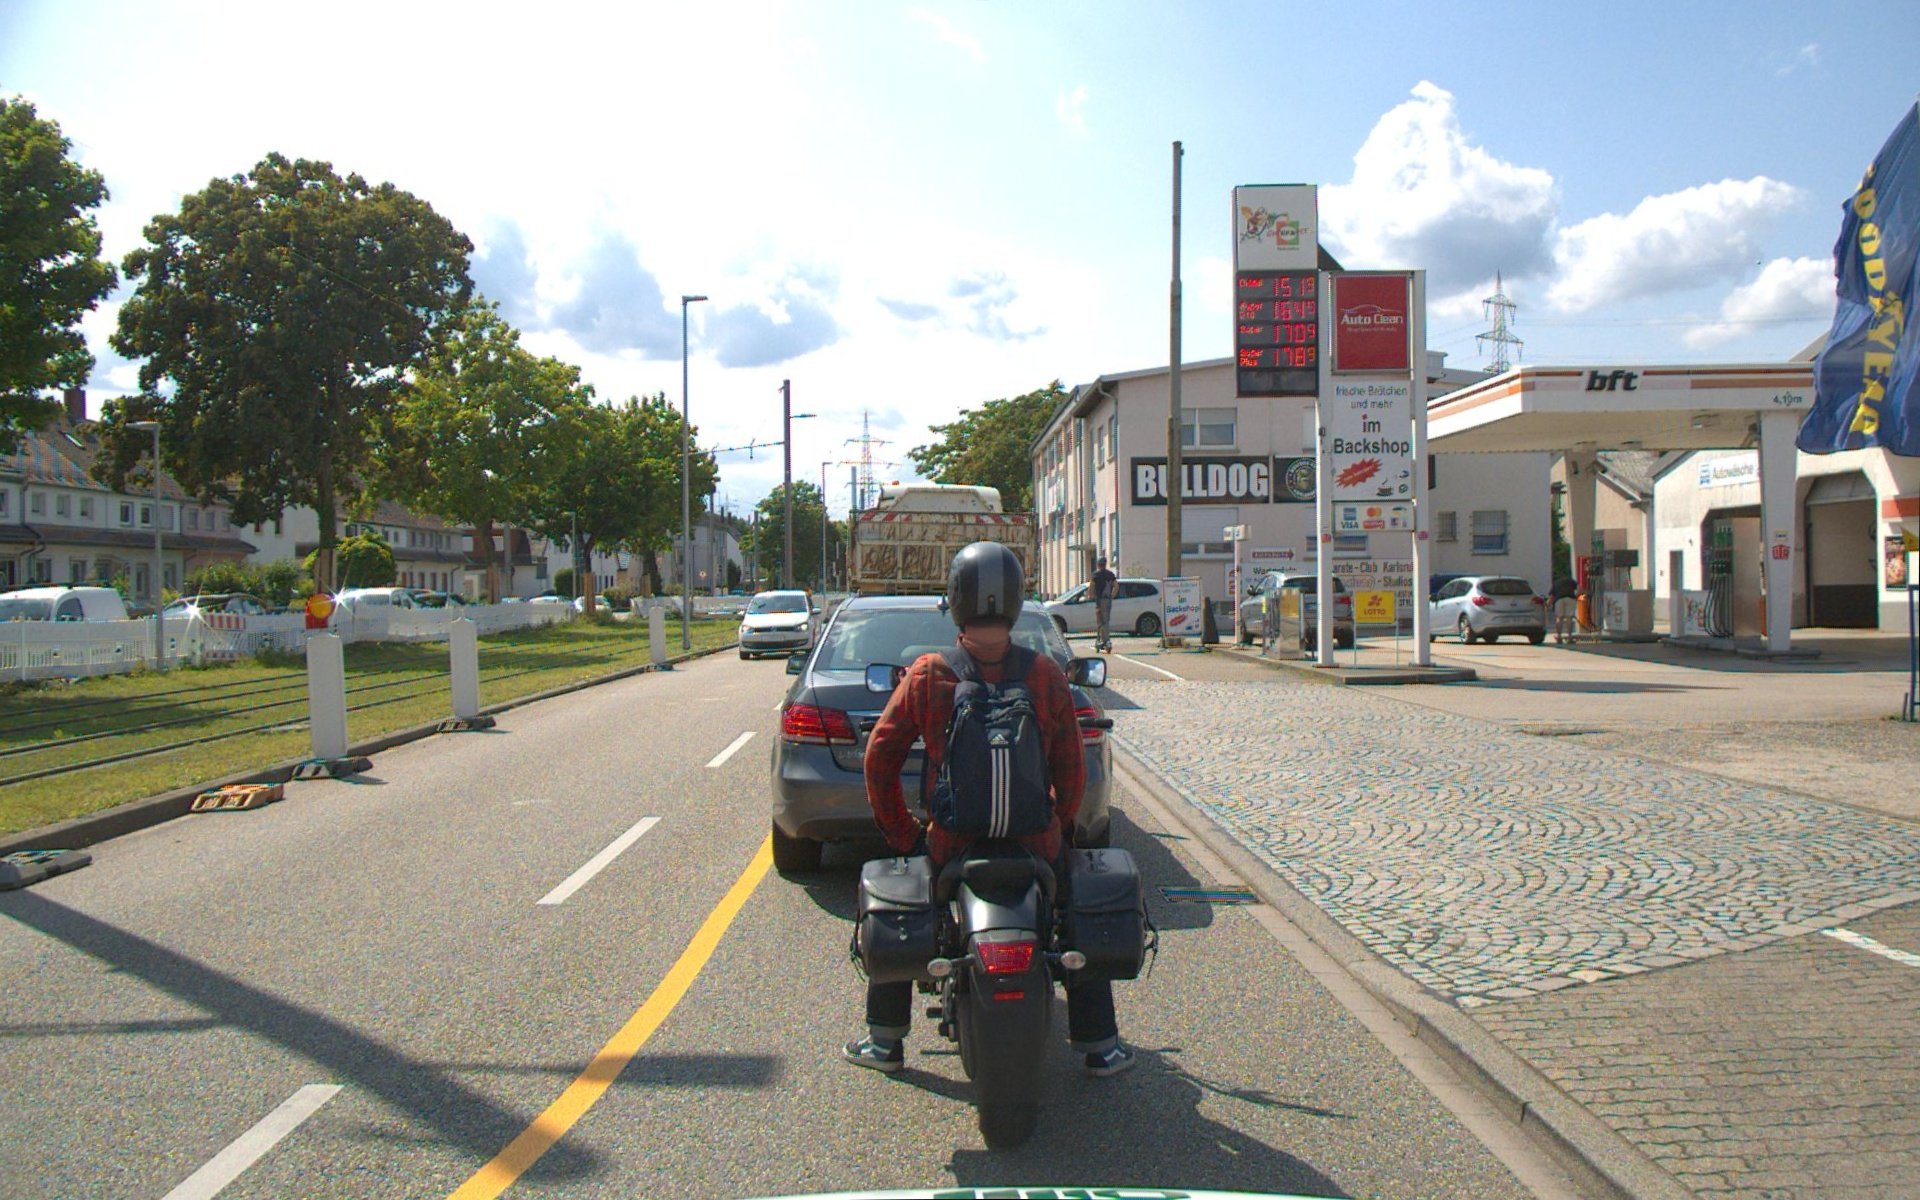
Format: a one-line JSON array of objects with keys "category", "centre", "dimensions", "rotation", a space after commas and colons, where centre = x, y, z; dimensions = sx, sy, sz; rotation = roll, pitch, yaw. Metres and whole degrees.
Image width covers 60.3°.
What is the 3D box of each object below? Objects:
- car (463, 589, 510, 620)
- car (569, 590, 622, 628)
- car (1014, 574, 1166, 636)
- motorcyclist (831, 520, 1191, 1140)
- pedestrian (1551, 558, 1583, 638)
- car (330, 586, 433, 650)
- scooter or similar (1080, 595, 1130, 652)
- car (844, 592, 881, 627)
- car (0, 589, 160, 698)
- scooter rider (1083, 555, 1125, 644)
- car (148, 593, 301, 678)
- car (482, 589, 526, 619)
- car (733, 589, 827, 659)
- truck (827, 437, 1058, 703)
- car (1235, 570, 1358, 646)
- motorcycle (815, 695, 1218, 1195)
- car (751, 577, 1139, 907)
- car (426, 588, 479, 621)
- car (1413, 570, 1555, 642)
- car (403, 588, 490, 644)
[{"category": "car", "centre": [-28.064, 0.259, 98.138], "dimensions": [1.664, 1.770, 4.061], "rotation": [-1, 0, -1]}, {"category": "car", "centre": [-17.493, 0.406, 79.526], "dimensions": [1.664, 1.770, 3.860], "rotation": [-1, 0, -1]}, {"category": "car", "centre": [3.670, 0.119, 47.078], "dimensions": [4.029, 1.652, 1.682], "rotation": [-1, 0, -9]}, {"category": "motorcyclist", "centre": [0.130, 0.618, 5.070], "dimensions": [0.950, 1.662, 1.214], "rotation": [1, 0, -1]}, {"category": "pedestrian", "centre": [13.135, -0.045, 35.786], "dimensions": [0.621, 1.712, 0.622], "rotation": [-1, 0, 20]}, {"category": "car", "centre": [-16.944, 0.493, 48.608], "dimensions": [1.664, 1.770, 3.860], "rotation": [-1, 0, -1]}, {"category": "scooter or similar", "centre": [3.039, 0.479, 34.837], "dimensions": [0.780, 1.165, 1.517], "rotation": [-1, 0, -5]}, {"category": "car", "centre": [-4.877, 0.458, 82.872], "dimensions": [1.646, 1.652, 4.118], "rotation": [-1, 0, -1]}, {"category": "car", "centre": [-16.417, 0.743, 30.287], "dimensions": [1.664, 1.849, 3.860], "rotation": [-1, 0, -1]}, {"category": "scooter rider", "centre": [3.029, -0.019, 34.850], "dimensions": [0.780, 1.850, 0.508], "rotation": [-1, 0, -5]}, {"category": "car", "centre": [-16.673, 0.757, 37.711], "dimensions": [1.664, 1.770, 4.053], "rotation": [-1, 0, -1]}, {"category": "car", "centre": [-28.667, 0.229, 104.140], "dimensions": [1.664, 1.770, 4.061], "rotation": [-1, 0, -1]}, {"category": "car", "centre": [-3.995, 0.493, 37.240], "dimensions": [1.680, 1.438, 4.261], "rotation": [-1, 0, -1]}, {"category": "truck", "centre": [-0.355, -0.421, 25.463], "dimensions": [2.910, 3.362, 8.404], "rotation": [-1, 0, -2]}, {"category": "car", "centre": [7.402, 0.144, 36.749], "dimensions": [1.795, 1.562, 4.008], "rotation": [-1, 0, -2]}, {"category": "motorcycle", "centre": [0.119, 0.900, 5.188], "dimensions": [0.956, 1.031, 2.431], "rotation": [1, 0, -1]}, {"category": "car", "centre": [-0.129, 0.647, 9.781], "dimensions": [1.795, 1.505, 4.008], "rotation": [-1, 0, -2]}, {"category": "car", "centre": [-28.184, 0.244, 91.928], "dimensions": [1.664, 1.770, 4.061], "rotation": [-1, 0, -1]}, {"category": "car", "centre": [11.772, 0.104, 37.414], "dimensions": [1.795, 1.505, 4.008], "rotation": [-1, 0, -2]}, {"category": "car", "centre": [-17.020, 0.497, 54.974], "dimensions": [1.664, 1.770, 3.860], "rotation": [-1, 0, -1]}]
